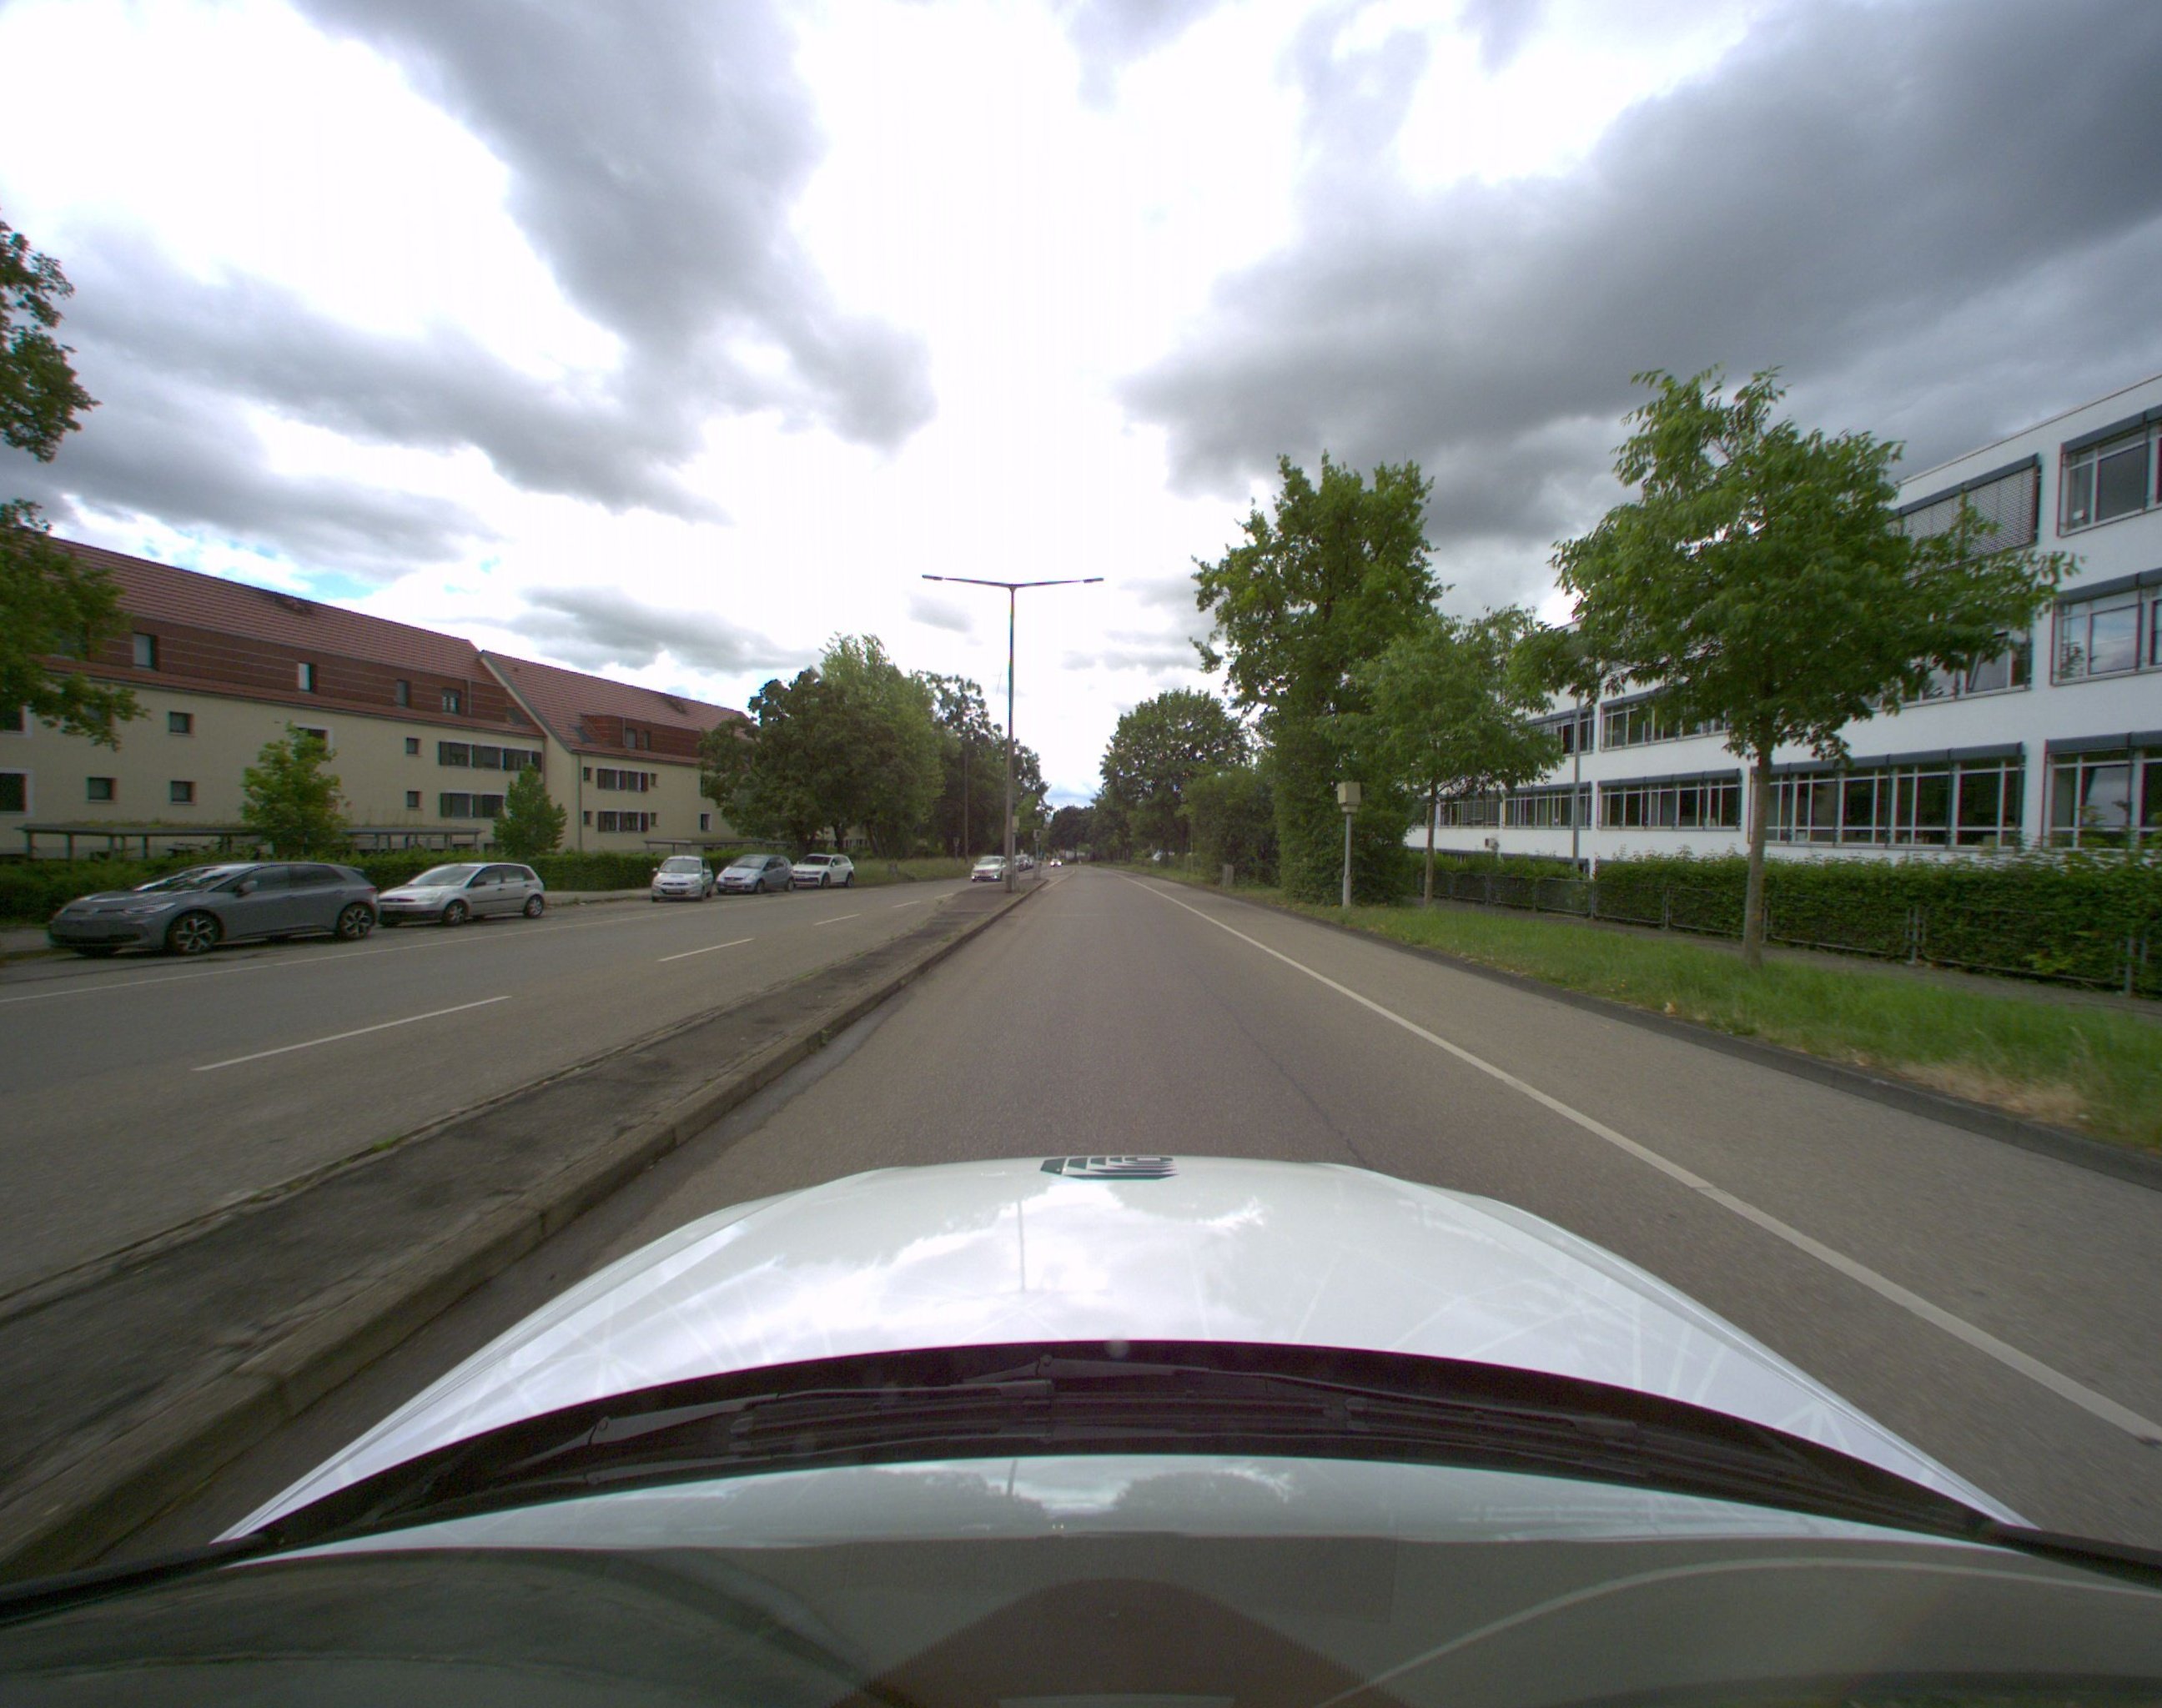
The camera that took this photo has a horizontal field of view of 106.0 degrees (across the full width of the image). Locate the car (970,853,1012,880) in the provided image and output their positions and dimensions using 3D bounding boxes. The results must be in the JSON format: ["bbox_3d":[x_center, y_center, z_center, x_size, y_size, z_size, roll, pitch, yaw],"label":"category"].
[{"bbox_3d":[-5.452,0.778,50.042,1.867,1.570,4.341,1,-1,3],"label":"car"}]

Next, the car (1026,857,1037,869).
[{"bbox_3d":[-8.029,1.463,132.441,1.862,1.963,5.121,0,-1,-3],"label":"car"}]

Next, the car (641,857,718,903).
[{"bbox_3d":[-14.296,0.863,29.208,1.880,1.507,3.976,0,0,-18],"label":"car"}]

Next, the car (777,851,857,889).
[{"bbox_3d":[-12.563,0.766,39.048,1.864,1.667,4.400,0,-1,8],"label":"car"}]

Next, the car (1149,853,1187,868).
[{"bbox_3d":[14.661,1.083,137.404,6.040,2.367,2.342,1,-1,-26],"label":"car"}]

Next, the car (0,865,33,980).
[{"bbox_3d":[-15.142,0.889,8.982,1.869,1.507,4.056,1,0,0],"label":"car"}]

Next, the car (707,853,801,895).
[{"bbox_3d":[-13.556,0.790,33.996,1.864,1.596,4.009,0,0,8],"label":"car"}]

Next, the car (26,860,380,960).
[{"bbox_3d":[-15.252,0.877,14.549,1.868,1.507,4.002,1,0,2],"label":"car"}]

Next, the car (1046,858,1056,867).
[{"bbox_3d":[-5.289,1.485,145.586,1.632,1.467,3.999,-1,-1,0],"label":"car"}]

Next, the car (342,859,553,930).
[{"bbox_3d":[-15.068,0.889,19.700,1.868,1.507,4.003,0,0,2],"label":"car"}]
